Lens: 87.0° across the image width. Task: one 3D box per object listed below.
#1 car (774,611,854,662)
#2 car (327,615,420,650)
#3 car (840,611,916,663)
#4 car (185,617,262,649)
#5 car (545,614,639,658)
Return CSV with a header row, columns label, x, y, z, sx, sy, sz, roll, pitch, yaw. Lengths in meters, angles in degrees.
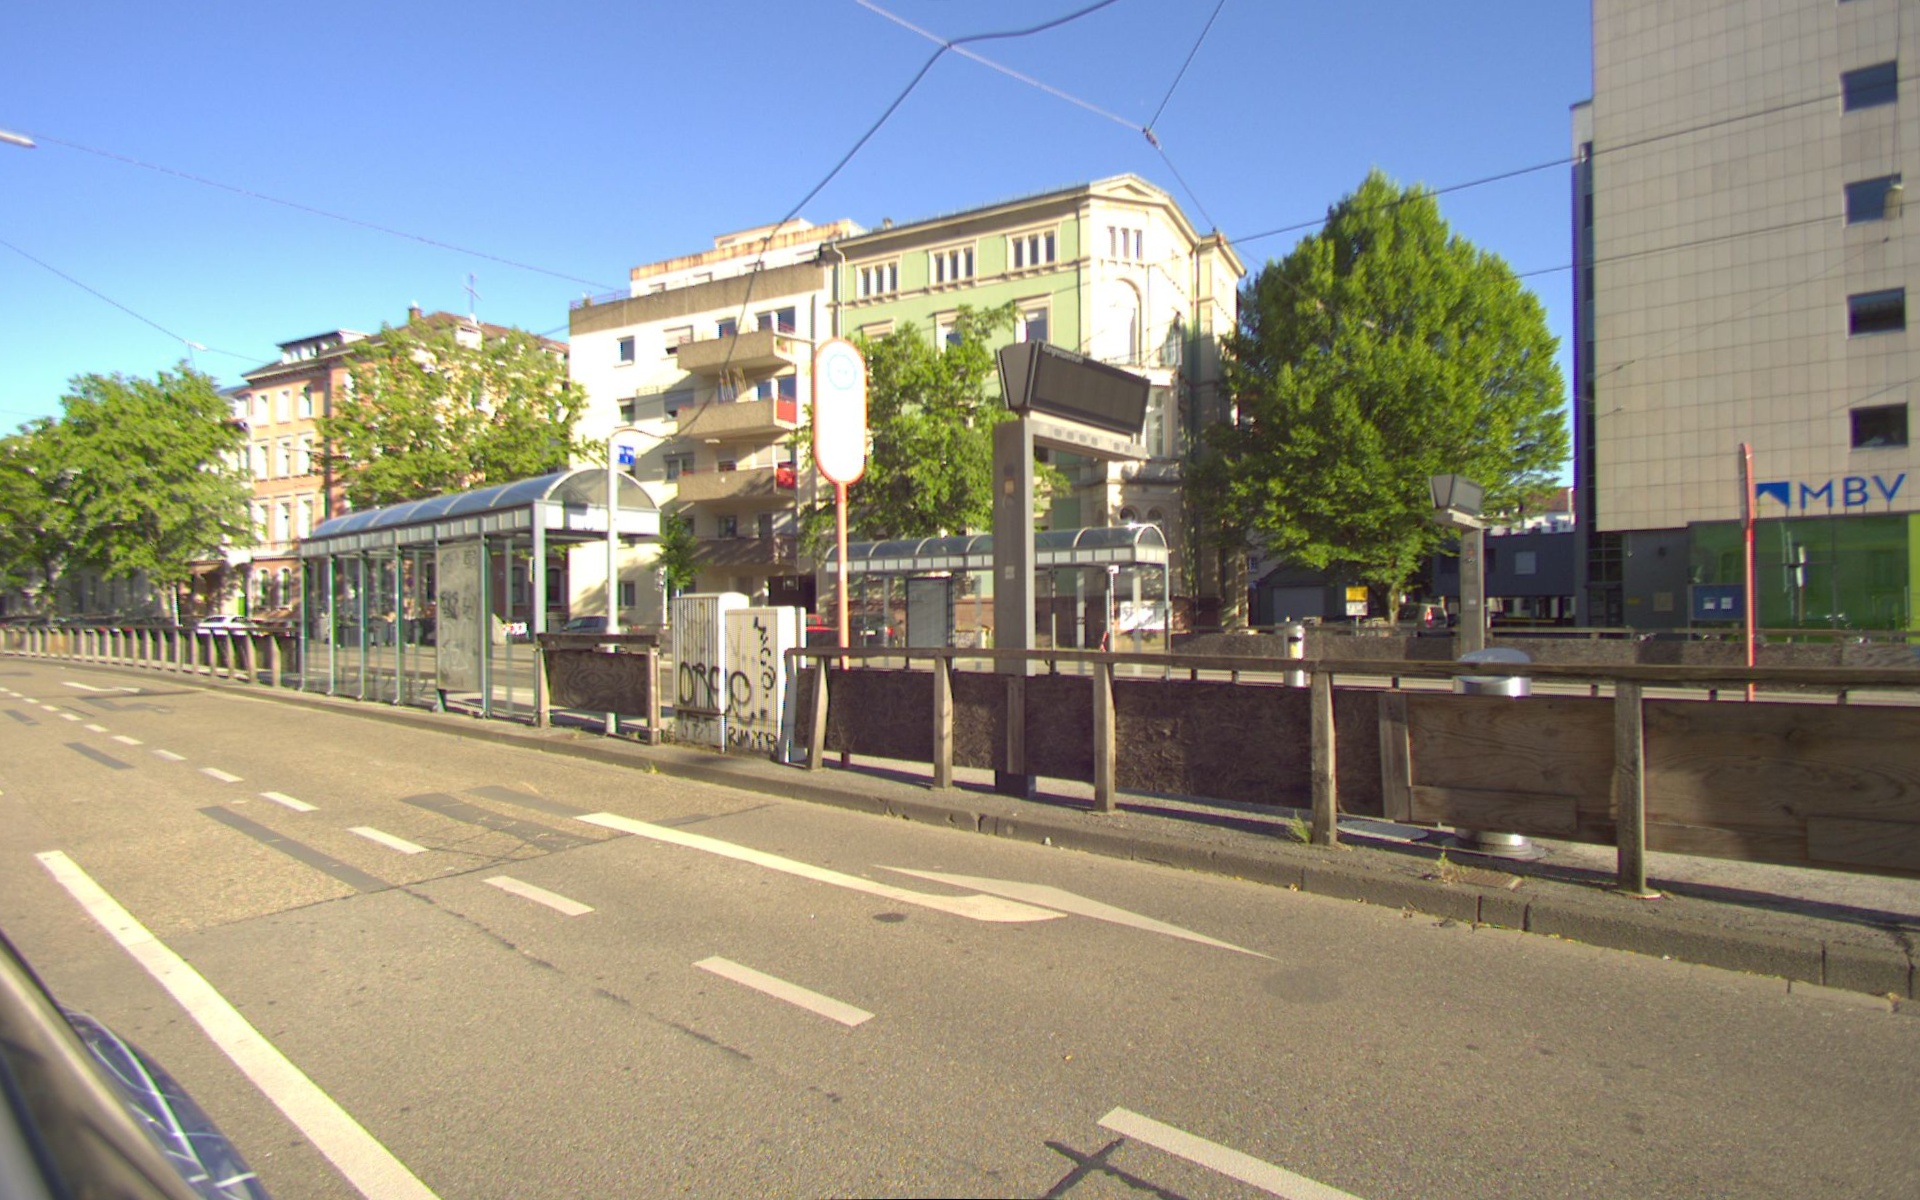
label,x,y,z,sx,sy,sz,roll,pitch,yaw
car,-4.926,1.213,34.568,1.614,1.579,3.588,-1,0,11
car,-28.403,1.555,49.057,1.626,1.579,3.560,-1,0,33
car,-2.653,1.183,33.371,1.614,1.579,3.588,-1,0,11
car,-39.403,1.735,54.216,1.607,1.579,3.601,-1,0,-2
car,-14.038,1.330,38.520,3.592,1.579,1.612,-1,0,35
